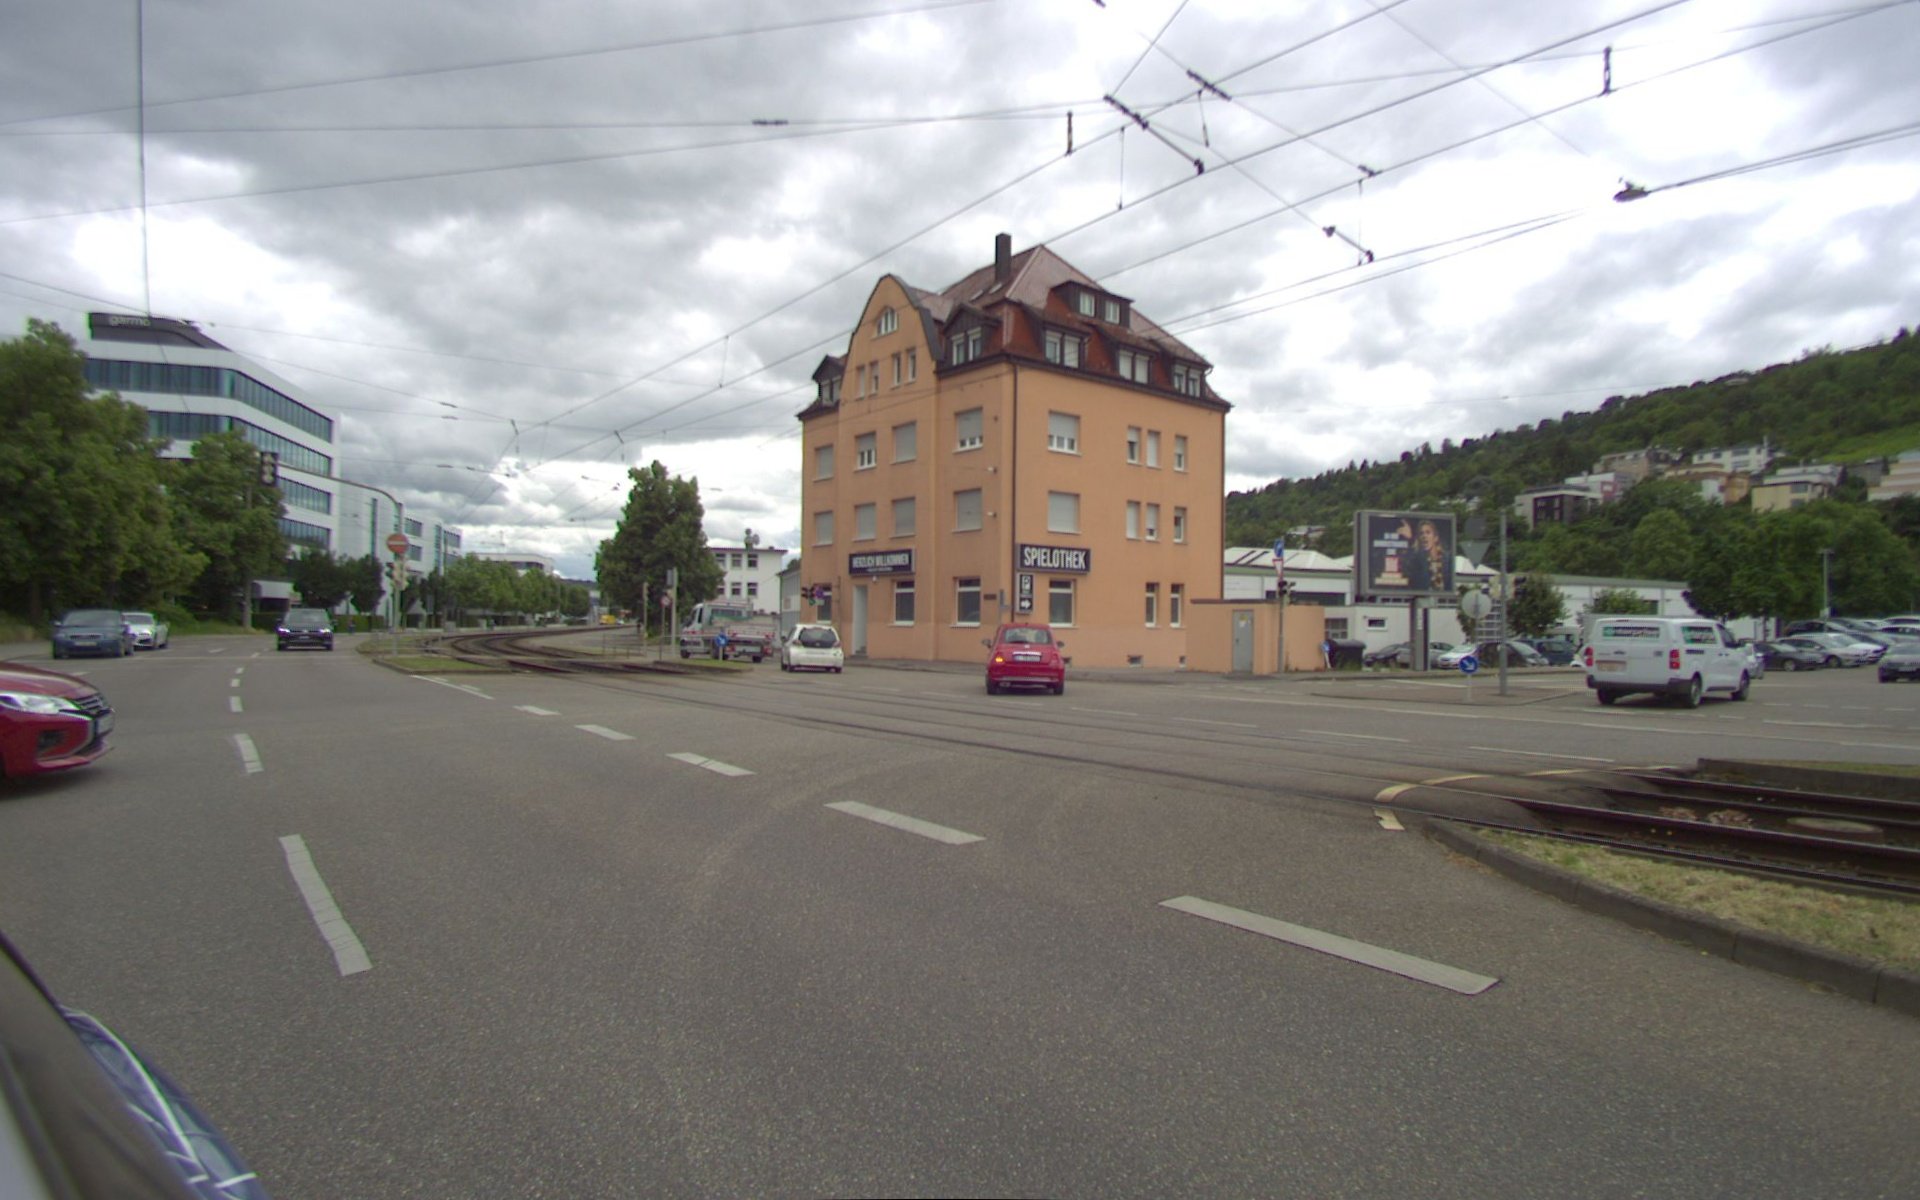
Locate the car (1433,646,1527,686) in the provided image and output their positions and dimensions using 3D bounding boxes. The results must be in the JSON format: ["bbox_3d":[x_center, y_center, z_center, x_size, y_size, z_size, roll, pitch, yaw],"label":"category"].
[{"bbox_3d":[27.493,3.488,53.494,4.432,1.852,2.007,3,1,-25],"label":"car"}]

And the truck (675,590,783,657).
[{"bbox_3d":[-9.288,0.940,40.281,2.282,2.440,5.670,4,-3,-33],"label":"truck"}]

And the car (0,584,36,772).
[{"bbox_3d":[-9.374,0.577,7.249,3.675,1.541,1.774,2,-1,-27],"label":"car"}]

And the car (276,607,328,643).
[{"bbox_3d":[-25.655,0.957,39.484,1.601,1.342,3.183,1,-2,-33],"label":"car"}]

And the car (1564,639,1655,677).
[{"bbox_3d":[27.362,2.418,42.701,1.510,1.348,2.820,2,1,-34],"label":"car"}]

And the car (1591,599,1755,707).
[{"bbox_3d":[16.250,1.081,22.971,4.757,2.056,2.008,-1,3,-42],"label":"car"}]

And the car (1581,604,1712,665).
[{"bbox_3d":[30.089,1.467,44.422,4.508,2.259,1.973,4,1,41],"label":"car"}]

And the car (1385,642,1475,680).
[{"bbox_3d":[26.009,3.361,55.966,4.432,1.852,2.007,3,1,-24],"label":"car"}]

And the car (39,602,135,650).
[{"bbox_3d":[-27.178,0.791,31.623,1.720,1.402,3.713,1,-1,-32],"label":"car"}]

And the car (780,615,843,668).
[{"bbox_3d":[-4.583,1.295,30.896,1.572,1.431,3.382,-2,-4,-13],"label":"car"}]

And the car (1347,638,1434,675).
[{"bbox_3d":[24.734,3.249,58.210,4.432,1.852,2.007,3,1,-23],"label":"car"}]

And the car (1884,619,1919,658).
[{"bbox_3d":[53.280,2.219,54.662,1.966,2.012,4.524,2,1,-33],"label":"car"}]

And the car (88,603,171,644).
[{"bbox_3d":[-31.168,0.873,38.103,1.719,1.437,4.178,1,-1,-30],"label":"car"}]

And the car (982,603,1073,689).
[{"bbox_3d":[1.566,0.916,22.170,1.683,1.536,3.991,2,2,8],"label":"car"}]
